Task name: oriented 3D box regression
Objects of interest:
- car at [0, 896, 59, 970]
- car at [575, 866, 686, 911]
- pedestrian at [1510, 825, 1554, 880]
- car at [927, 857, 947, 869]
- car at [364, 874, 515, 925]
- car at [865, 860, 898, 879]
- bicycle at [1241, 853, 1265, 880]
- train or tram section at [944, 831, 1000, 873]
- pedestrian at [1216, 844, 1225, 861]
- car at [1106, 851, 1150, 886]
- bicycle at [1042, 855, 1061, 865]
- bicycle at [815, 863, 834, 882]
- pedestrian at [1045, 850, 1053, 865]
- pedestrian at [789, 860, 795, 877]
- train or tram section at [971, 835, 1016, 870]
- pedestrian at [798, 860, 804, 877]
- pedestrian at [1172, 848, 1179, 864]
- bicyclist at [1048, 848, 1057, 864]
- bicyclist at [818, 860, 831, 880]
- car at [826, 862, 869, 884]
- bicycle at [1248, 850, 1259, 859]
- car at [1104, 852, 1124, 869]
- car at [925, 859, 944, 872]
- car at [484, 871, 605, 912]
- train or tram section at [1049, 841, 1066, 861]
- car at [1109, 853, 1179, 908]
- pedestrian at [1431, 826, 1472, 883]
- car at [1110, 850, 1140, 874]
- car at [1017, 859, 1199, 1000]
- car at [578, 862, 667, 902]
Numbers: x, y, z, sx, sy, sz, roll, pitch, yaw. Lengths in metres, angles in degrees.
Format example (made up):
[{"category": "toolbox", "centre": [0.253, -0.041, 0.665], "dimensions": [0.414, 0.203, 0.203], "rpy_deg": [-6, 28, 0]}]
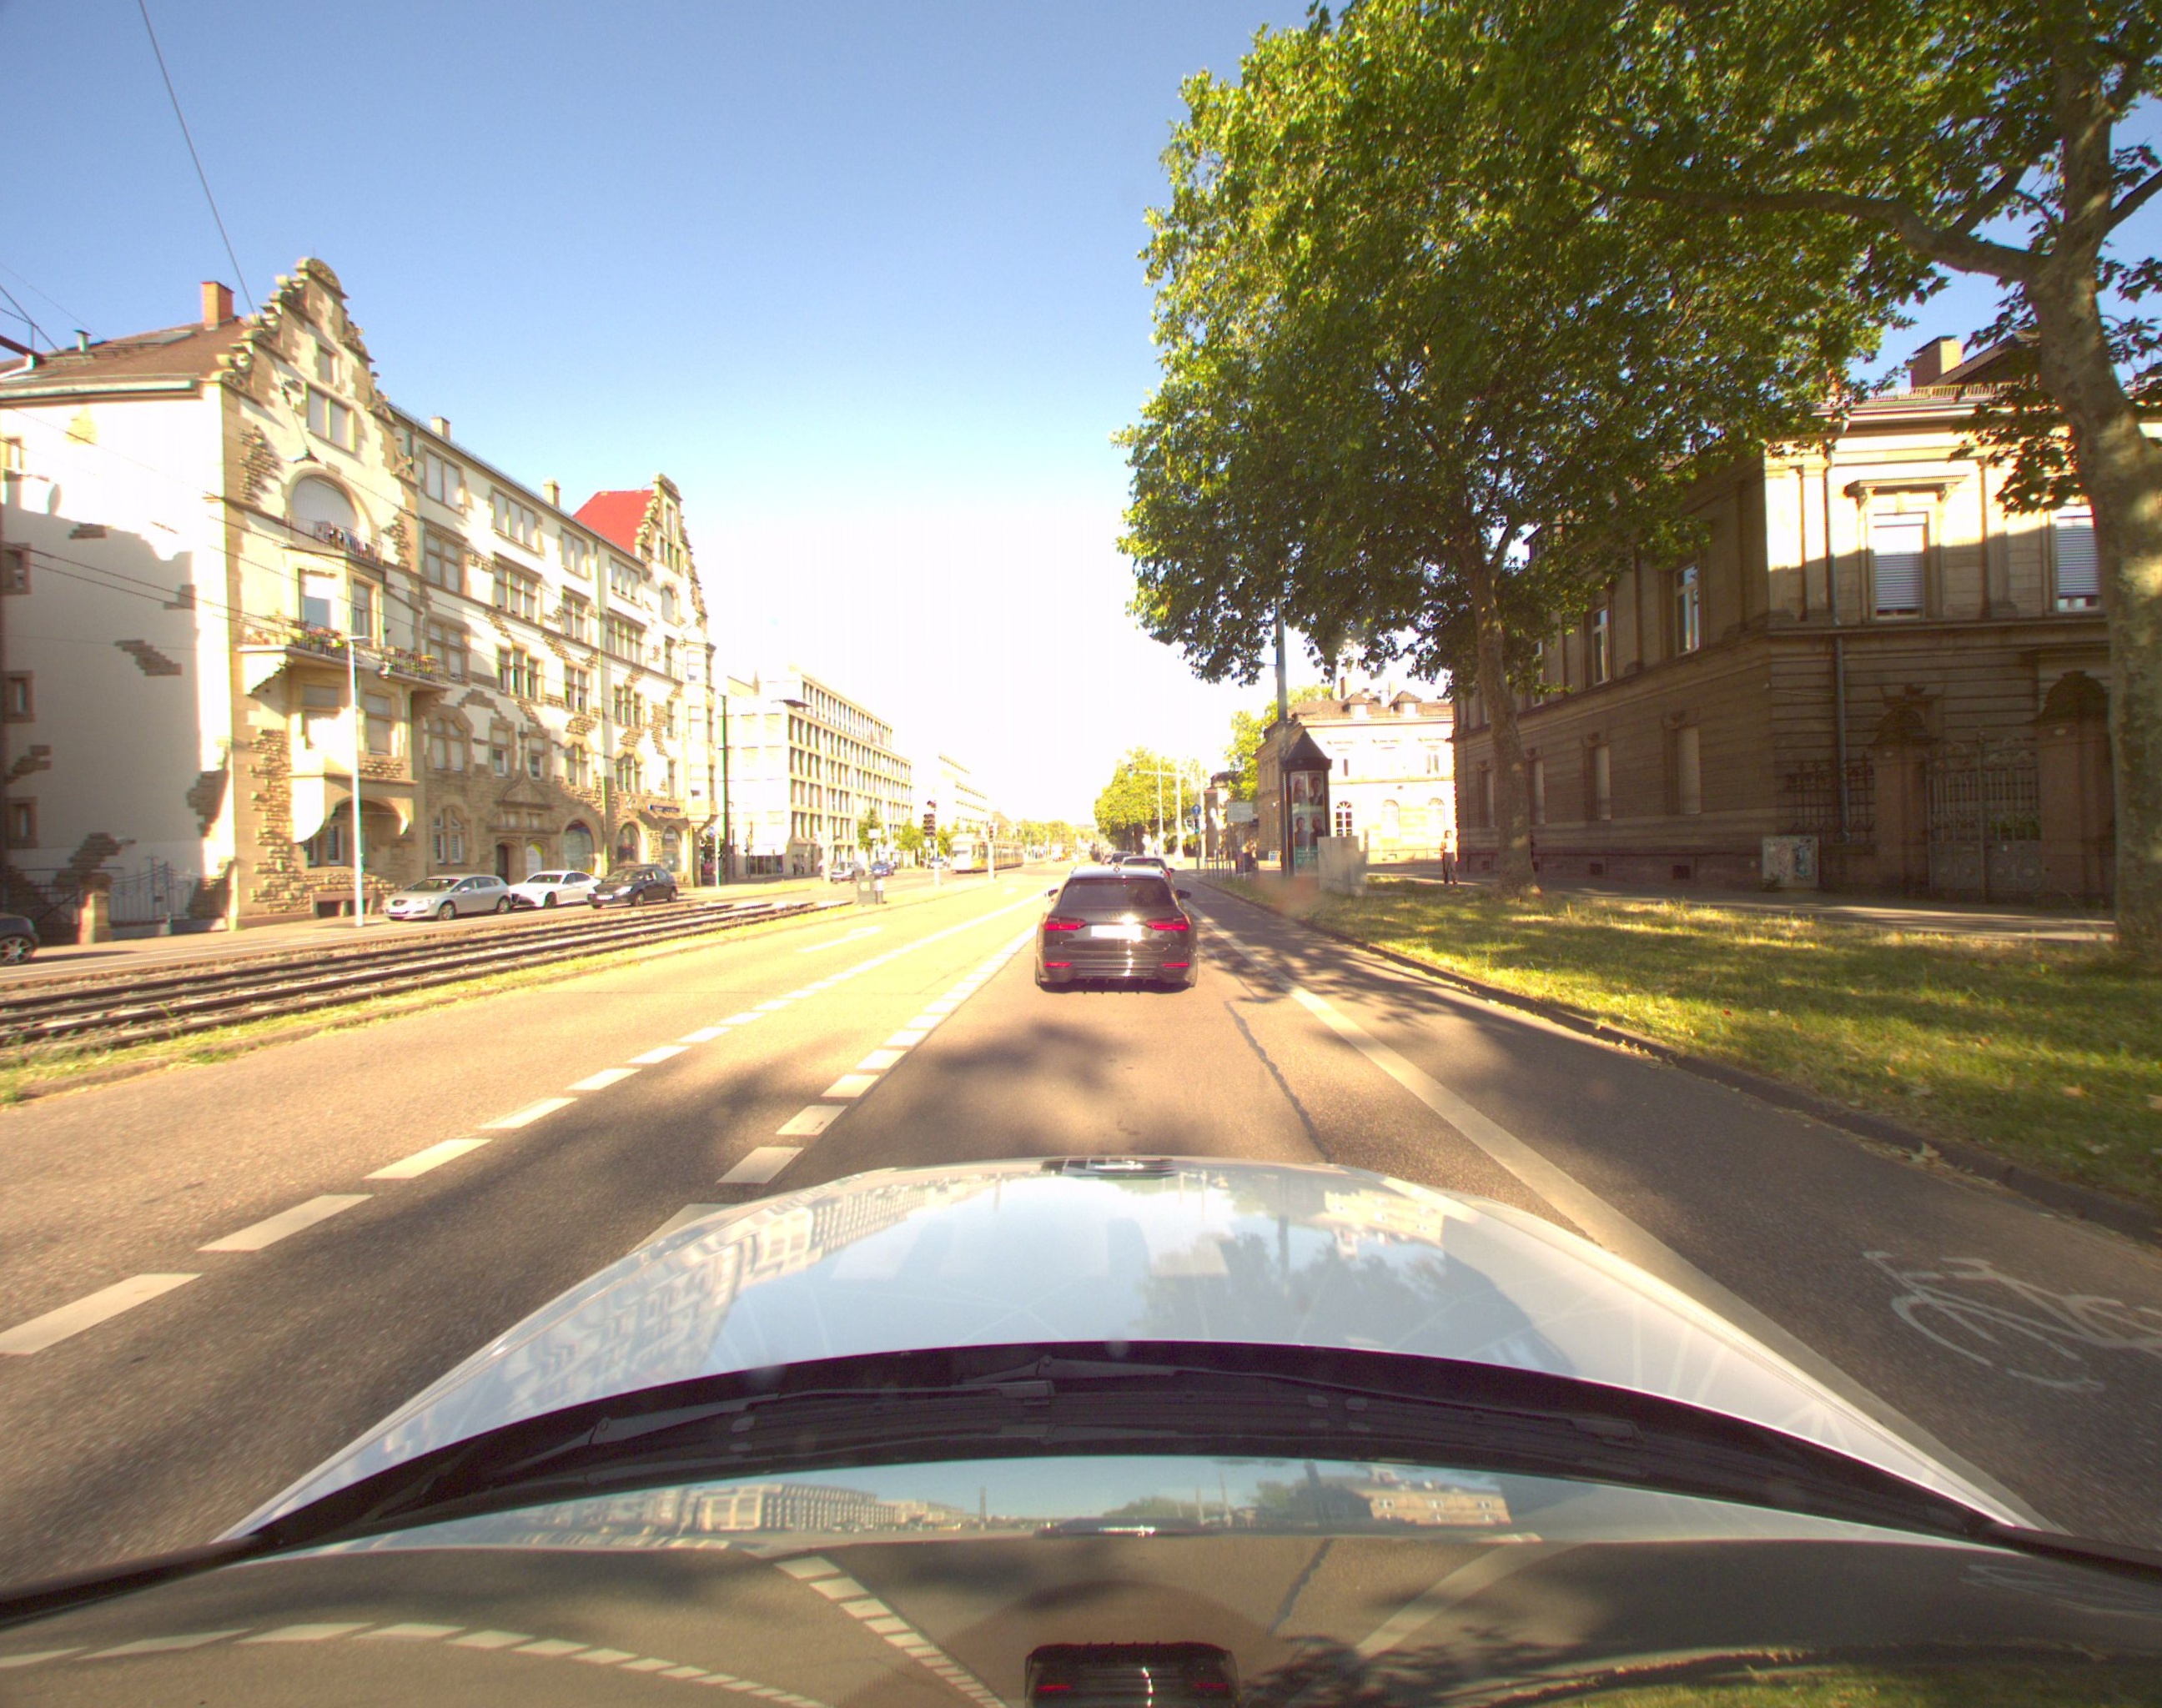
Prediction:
[{"category": "car", "centre": [-21.647, 1.545, 14.702], "dimensions": [1.616, 1.354, 3.727], "rpy_deg": [1, 0, 1]}, {"category": "car", "centre": [-16.796, 1.239, 30.617], "dimensions": [1.814, 1.457, 4.165], "rpy_deg": [-2, 0, 0]}, {"category": "pedestrian", "centre": [13.765, -0.038, 24.875], "dimensions": [0.766, 1.606, 0.987], "rpy_deg": [-2, 0, 3]}, {"category": "car", "centre": [-18.853, 1.163, 107.047], "dimensions": [1.814, 1.457, 4.156], "rpy_deg": [-2, 0, 0]}, {"category": "car", "centre": [-21.280, 1.466, 27.270], "dimensions": [1.704, 1.431, 4.223], "rpy_deg": [0, 0, 0]}, {"category": "car", "centre": [-17.555, 1.344, 71.901], "dimensions": [1.814, 1.457, 4.156], "rpy_deg": [-2, 0, 0]}, {"category": "bicycle", "centre": [7.248, 0.508, 34.363], "dimensions": [0.538, 1.061, 1.770], "rpy_deg": [-2, 0, -1]}, {"category": "train or tram section", "centre": [-9.963, -0.144, 76.153], "dimensions": [2.802, 3.489, 13.211], "rpy_deg": [-2, 0, 2]}, {"category": "pedestrian", "centre": [15.991, -0.169, 93.303], "dimensions": [0.974, 1.865, 0.828], "rpy_deg": [-2, 0, 4]}, {"category": "car", "centre": [2.183, 0.642, 37.956], "dimensions": [1.895, 1.486, 4.147], "rpy_deg": [-1, 0, 3]}, {"category": "bicycle", "centre": [-3.383, 0.718, 93.853], "dimensions": [2.010, 1.108, 0.760], "rpy_deg": [-2, 0, -17]}, {"category": "bicycle", "centre": [-20.005, 1.433, 63.590], "dimensions": [0.682, 1.382, 1.949], "rpy_deg": [-2, 0, 3]}, {"category": "pedestrian", "centre": [-3.759, 0.415, 95.403], "dimensions": [0.741, 1.741, 0.660], "rpy_deg": [-2, 0, -17]}, {"category": "pedestrian", "centre": [-31.747, 1.602, 89.467], "dimensions": [0.475, 1.843, 0.438], "rpy_deg": [-2, 0, -36]}, {"category": "train or tram section", "centre": [-9.420, -0.172, 89.350], "dimensions": [2.802, 3.489, 13.211], "rpy_deg": [-2, 0, 2]}, {"category": "pedestrian", "centre": [-30.952, 1.573, 90.027], "dimensions": [0.535, 1.843, 0.438], "rpy_deg": [-2, 0, -36]}, {"category": "pedestrian", "centre": [10.147, 0.239, 87.578], "dimensions": [0.679, 1.660, 0.758], "rpy_deg": [-2, 0, 0]}, {"category": "bicyclist", "centre": [-3.264, 0.251, 93.907], "dimensions": [0.758, 1.818, 0.760], "rpy_deg": [-2, 0, -17]}, {"category": "bicyclist", "centre": [-20.020, 1.243, 63.573], "dimensions": [0.682, 1.563, 0.786], "rpy_deg": [-2, 0, 3]}, {"category": "car", "centre": [-17.185, 1.355, 60.227], "dimensions": [1.814, 1.457, 4.539], "rpy_deg": [-2, 0, 0]}, {"category": "bicycle", "centre": [21.529, 0.039, 101.718], "dimensions": [0.525, 1.047, 2.354], "rpy_deg": [-2, 0, -6]}, {"category": "car", "centre": [3.144, 0.616, 77.391], "dimensions": [1.895, 1.486, 4.147], "rpy_deg": [-1, 0, 3]}, {"category": "car", "centre": [-21.734, 1.678, 121.048], "dimensions": [1.835, 1.812, 4.114], "rpy_deg": [-2, 0, 1]}, {"category": "car", "centre": [-21.381, 1.453, 32.726], "dimensions": [1.711, 1.423, 4.656], "rpy_deg": [0, 0, 1]}, {"category": "train or tram section", "centre": [-4.178, -0.516, 146.576], "dimensions": [2.600, 3.450, 11.132], "rpy_deg": [-2, 0, 1]}, {"category": "car", "centre": [1.832, 0.723, 24.549], "dimensions": [1.895, 1.486, 4.147], "rpy_deg": [-1, 0, 3]}, {"category": "pedestrian", "centre": [11.476, 0.014, 25.244], "dimensions": [0.766, 1.709, 1.043], "rpy_deg": [-2, 0, 3]}, {"category": "car", "centre": [2.875, 0.483, 53.340], "dimensions": [1.895, 1.486, 4.147], "rpy_deg": [-1, 0, 3]}, {"category": "car", "centre": [0.383, 0.814, 10.693], "dimensions": [1.895, 1.421, 4.147], "rpy_deg": [-1, 0, 3]}, {"category": "car", "centre": [-21.410, 1.260, 38.230], "dimensions": [1.711, 1.675, 4.217], "rpy_deg": [0, 0, 1]}]
